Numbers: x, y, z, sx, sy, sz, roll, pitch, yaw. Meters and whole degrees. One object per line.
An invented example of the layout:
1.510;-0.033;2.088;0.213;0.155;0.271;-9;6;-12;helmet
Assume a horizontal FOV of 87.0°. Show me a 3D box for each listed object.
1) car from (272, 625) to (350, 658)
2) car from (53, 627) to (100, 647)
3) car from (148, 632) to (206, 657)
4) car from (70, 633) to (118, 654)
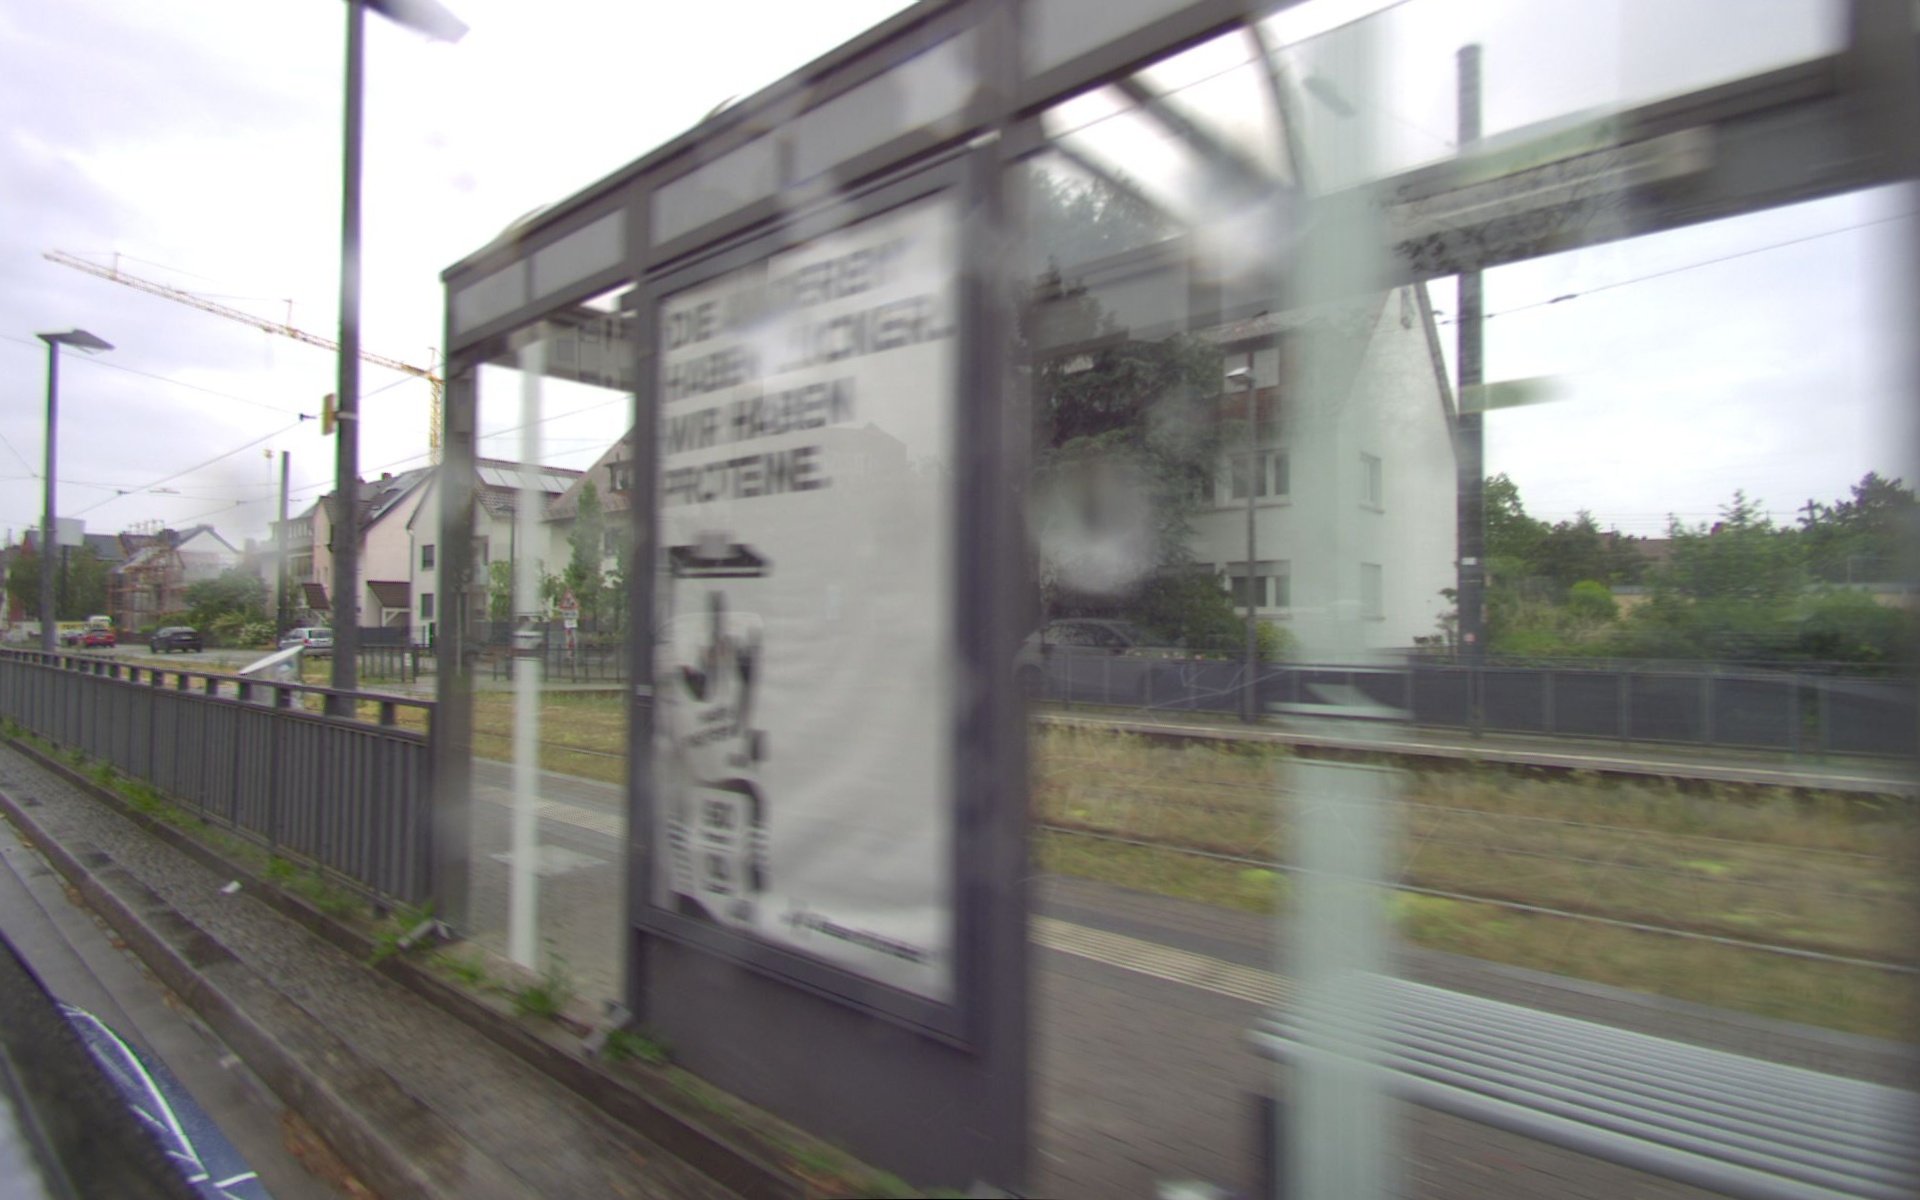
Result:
-29.917;1.881;46.619;3.653;1.424;1.974;0;-1;38;car
-67.244;2.841;76.996;4.169;1.420;1.974;-3;-2;38;car
-46.704;2.641;60.332;4.169;1.437;1.819;-2;-2;38;car
-62.931;3.149;73.523;3.838;1.383;1.974;0;-1;38;car
